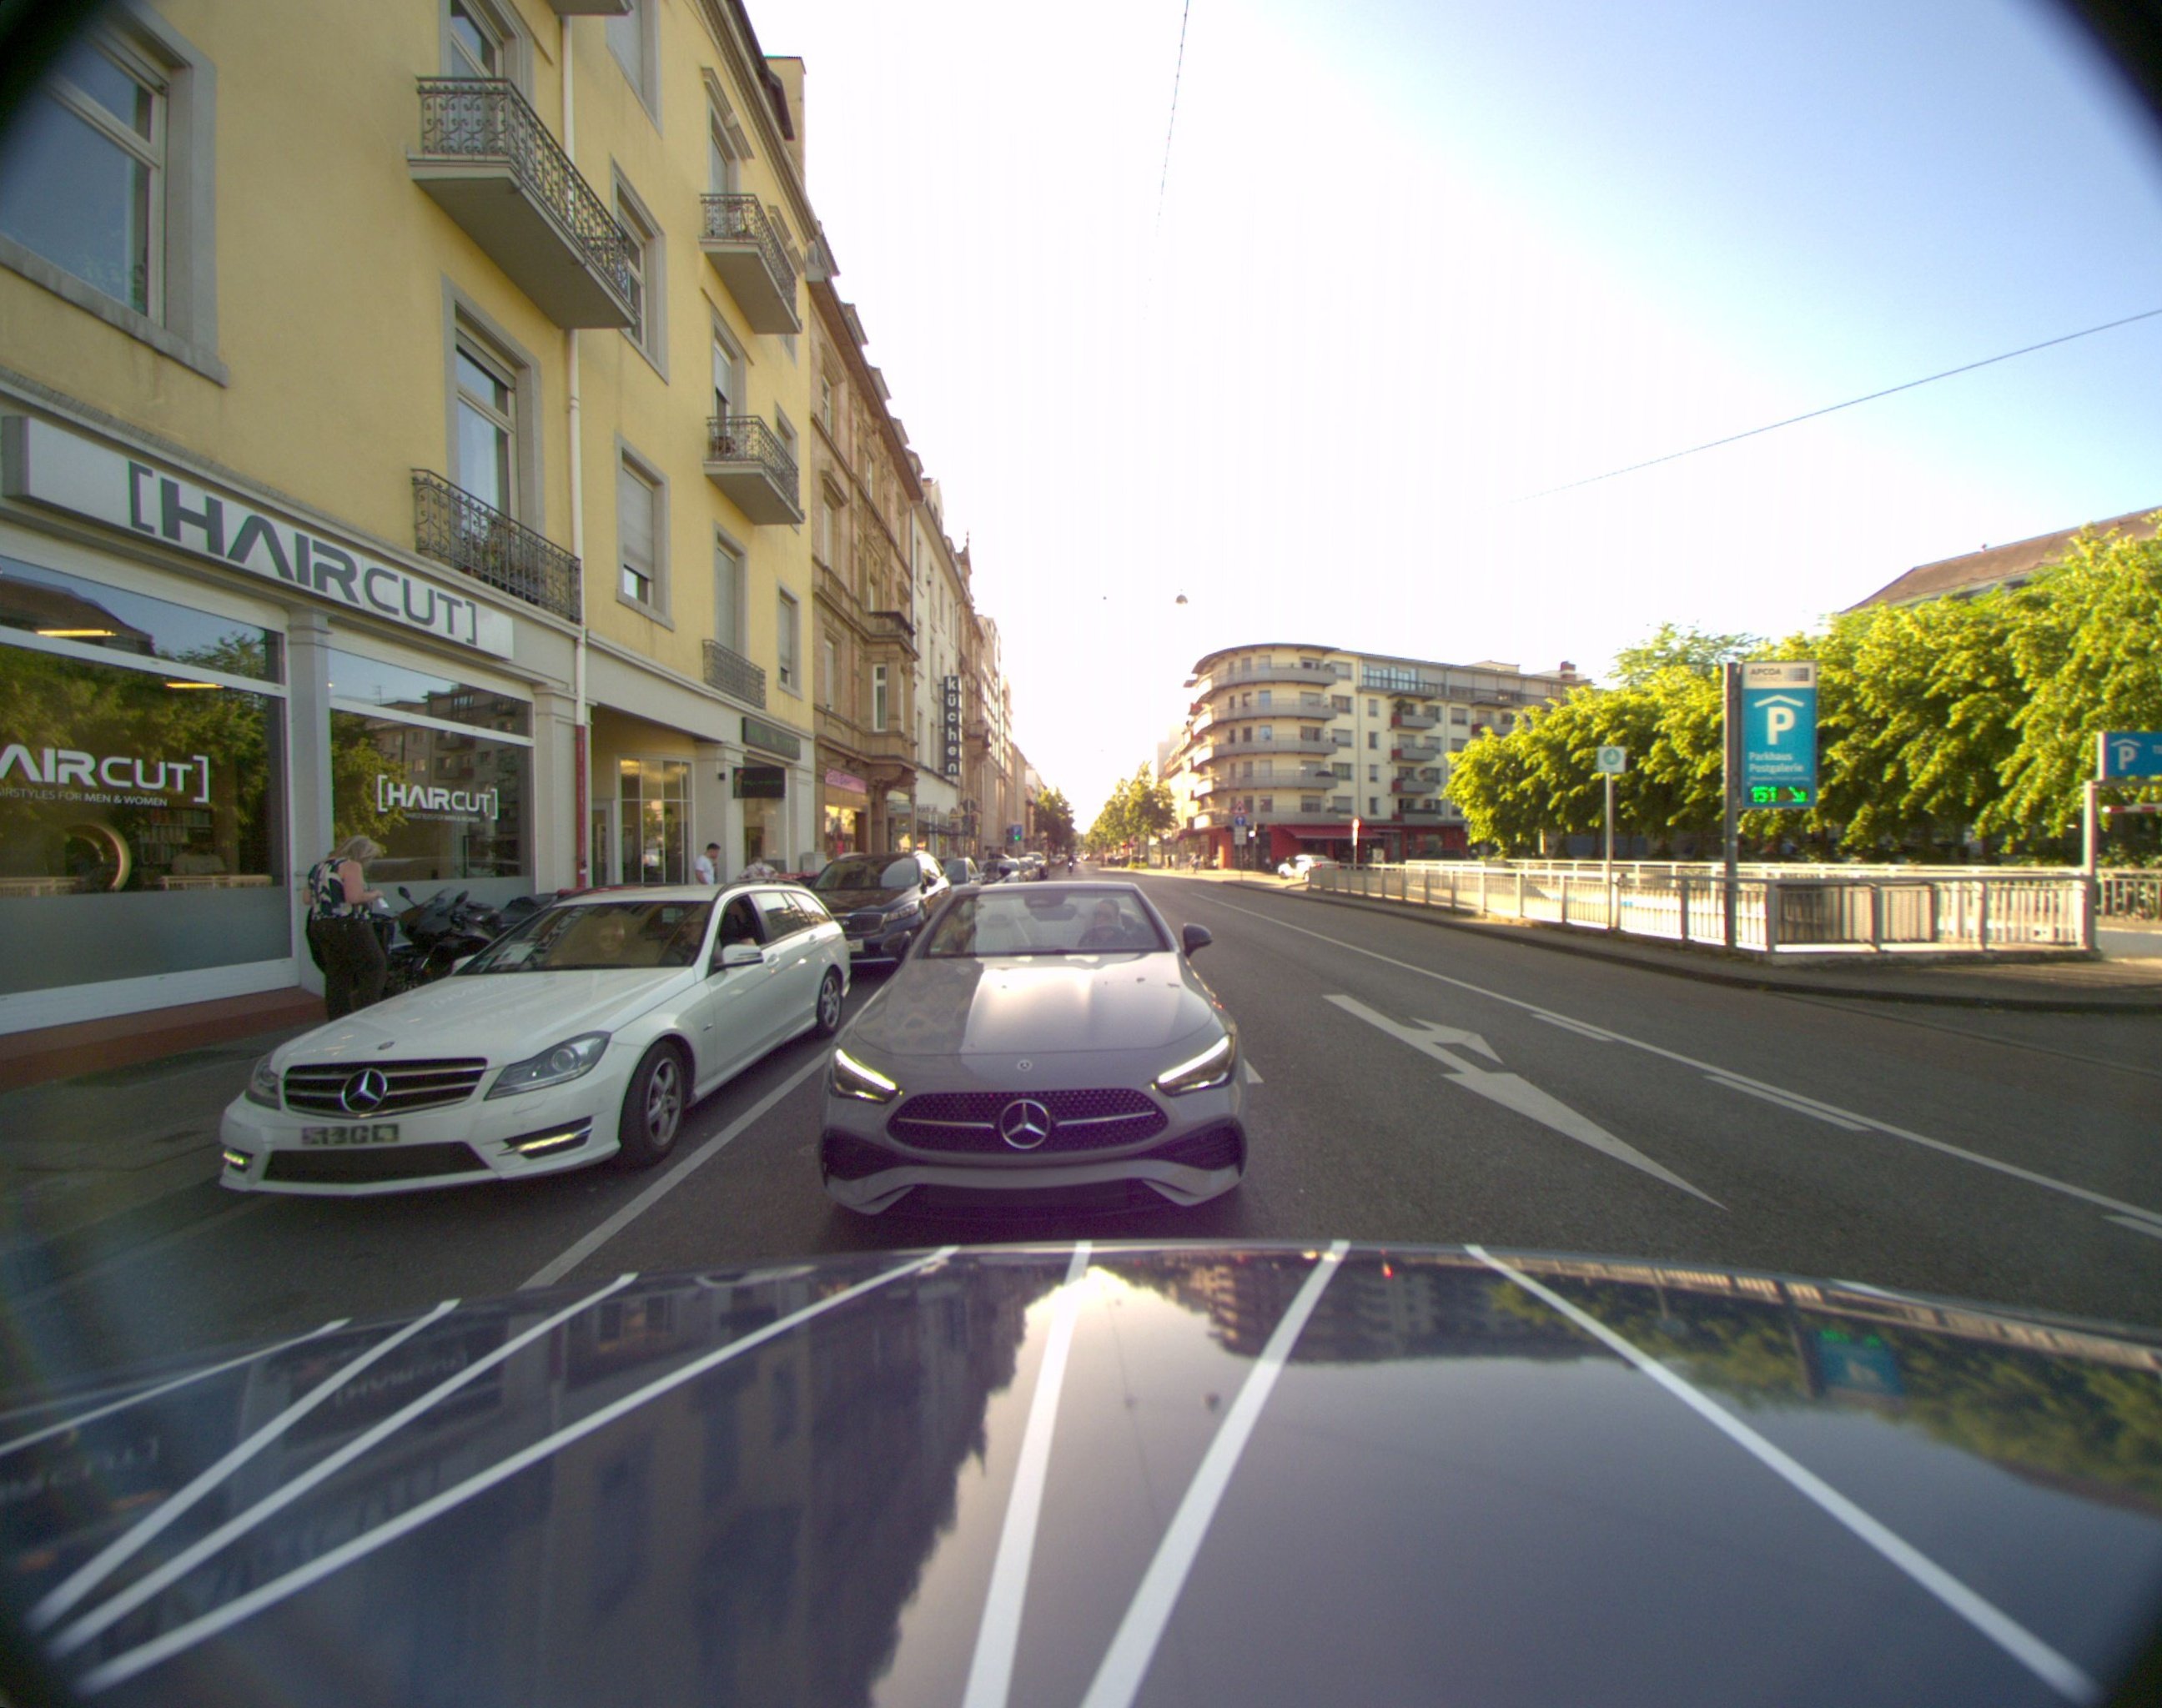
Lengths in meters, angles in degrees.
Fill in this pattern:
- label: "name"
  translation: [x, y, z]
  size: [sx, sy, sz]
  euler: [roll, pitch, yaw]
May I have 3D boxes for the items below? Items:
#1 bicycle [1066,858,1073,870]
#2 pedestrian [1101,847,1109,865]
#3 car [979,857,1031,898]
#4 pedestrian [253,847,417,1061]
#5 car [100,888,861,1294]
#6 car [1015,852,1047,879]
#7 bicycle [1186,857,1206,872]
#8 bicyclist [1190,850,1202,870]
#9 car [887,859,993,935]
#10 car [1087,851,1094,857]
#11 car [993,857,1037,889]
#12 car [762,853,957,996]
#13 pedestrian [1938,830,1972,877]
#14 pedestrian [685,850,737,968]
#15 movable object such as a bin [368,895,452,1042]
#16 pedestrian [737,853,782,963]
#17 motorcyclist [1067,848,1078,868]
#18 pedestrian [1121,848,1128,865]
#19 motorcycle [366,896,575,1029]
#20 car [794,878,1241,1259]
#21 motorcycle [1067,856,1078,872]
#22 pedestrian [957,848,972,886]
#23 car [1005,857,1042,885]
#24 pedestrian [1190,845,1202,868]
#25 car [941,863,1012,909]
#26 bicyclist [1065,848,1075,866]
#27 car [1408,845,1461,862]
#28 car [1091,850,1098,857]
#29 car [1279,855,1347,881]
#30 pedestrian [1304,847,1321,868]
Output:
- label: "bicycle"
  translation: [-1.067, 0.902, 70.921]
  size: [0.641, 1.078, 2.061]
  euler: [-2, 0, -1]
- label: "pedestrian"
  translation: [2.851, 0.245, 89.454]
  size: [0.860, 2.002, 0.889]
  euler: [-2, 1, 1]
- label: "car"
  translation: [-2.990, 0.896, 30.669]
  size: [1.660, 1.423, 4.085]
  euler: [-2, 1, -1]
- label: "pedestrian"
  translation: [-6.029, 0.770, 6.176]
  size: [0.719, 1.644, 0.606]
  euler: [1, 1, 1]
- label: "car"
  translation: [-3.069, 1.070, 5.276]
  size: [1.704, 1.351, 4.378]
  euler: [-2, 1, 1]
- label: "car"
  translation: [-3.081, 0.702, 47.739]
  size: [1.725, 1.506, 4.004]
  euler: [-2, 1, -1]
- label: "bicycle"
  translation: [8.860, 0.806, 58.725]
  size: [0.528, 1.163, 1.589]
  euler: [-3, 1, -34]
- label: "bicyclist"
  translation: [8.882, 0.439, 58.658]
  size: [0.526, 1.539, 0.796]
  euler: [-3, 1, -34]
- label: "car"
  translation: [-3.296, 0.948, 18.543]
  size: [1.802, 1.518, 4.085]
  euler: [-2, 1, -1]
- label: "car"
  translation: [2.288, -0.060, 188.877]
  size: [1.615, 1.534, 3.931]
  euler: [-1, 0, 1]
- label: "car"
  translation: [-3.161, 0.899, 36.865]
  size: [1.802, 1.332, 3.838]
  euler: [-2, 1, -1]
- label: "car"
  translation: [-3.030, 0.855, 11.345]
  size: [1.803, 1.629, 4.243]
  euler: [-2, 1, -3]
- label: "pedestrian"
  translation: [32.369, -0.021, 28.134]
  size: [0.647, 1.711, 0.607]
  euler: [-3, 1, -19]
- label: "pedestrian"
  translation: [-6.342, 0.919, 13.051]
  size: [0.373, 1.971, 0.695]
  euler: [0, 1, 23]
- label: "movable object such as a bin"
  translation: [-5.925, 0.994, 6.724]
  size: [0.391, 1.231, 0.394]
  euler: [1, 1, 1]
- label: "pedestrian"
  translation: [-5.592, 0.909, 13.205]
  size: [0.576, 1.840, 0.663]
  euler: [-3, 1, -30]
- label: "motorcyclist"
  translation: [-0.646, 0.298, 56.742]
  size: [0.722, 1.438, 0.705]
  euler: [-2, 1, 1]
- label: "pedestrian"
  translation: [5.224, 0.259, 91.588]
  size: [0.792, 2.002, 0.889]
  euler: [-2, 1, 1]
- label: "motorcycle"
  translation: [-6.210, 1.045, 7.896]
  size: [0.567, 1.072, 1.954]
  euler: [2, 1, 1]
- label: "car"
  translation: [-0.249, 0.958, 5.153]
  size: [1.802, 1.351, 3.999]
  euler: [-2, 1, 0]
- label: "motorcycle"
  translation: [-0.629, 0.741, 56.761]
  size: [0.720, 1.177, 1.906]
  euler: [-2, 1, 2]
- label: "pedestrian"
  translation: [-5.861, 0.643, 38.230]
  size: [0.574, 1.840, 0.665]
  euler: [-2, 1, 1]
- label: "car"
  translation: [-3.061, 0.873, 41.338]
  size: [1.725, 1.332, 3.668]
  euler: [-2, 1, -1]
- label: "pedestrian"
  translation: [10.296, 0.185, 68.066]
  size: [0.860, 2.002, 0.889]
  euler: [-2, 1, 0]
- label: "car"
  translation: [-3.403, 1.021, 25.427]
  size: [1.802, 1.259, 4.085]
  euler: [-2, 1, -1]
- label: "bicyclist"
  translation: [-1.040, 0.304, 70.885]
  size: [0.885, 1.625, 0.768]
  euler: [-2, 1, -1]
- label: "car"
  translation: [29.046, -0.047, 62.436]
  size: [4.004, 1.294, 1.753]
  euler: [-2, 1, -23]
- label: "car"
  translation: [3.324, -0.101, 189.158]
  size: [1.615, 1.534, 3.931]
  euler: [-1, 0, 1]
- label: "car"
  translation: [13.353, 0.798, 44.013]
  size: [1.826, 1.346, 4.258]
  euler: [0, 1, -15]
- label: "pedestrian"
  translation: [17.481, 0.280, 57.375]
  size: [0.863, 1.586, 0.887]
  euler: [-3, 1, -38]
